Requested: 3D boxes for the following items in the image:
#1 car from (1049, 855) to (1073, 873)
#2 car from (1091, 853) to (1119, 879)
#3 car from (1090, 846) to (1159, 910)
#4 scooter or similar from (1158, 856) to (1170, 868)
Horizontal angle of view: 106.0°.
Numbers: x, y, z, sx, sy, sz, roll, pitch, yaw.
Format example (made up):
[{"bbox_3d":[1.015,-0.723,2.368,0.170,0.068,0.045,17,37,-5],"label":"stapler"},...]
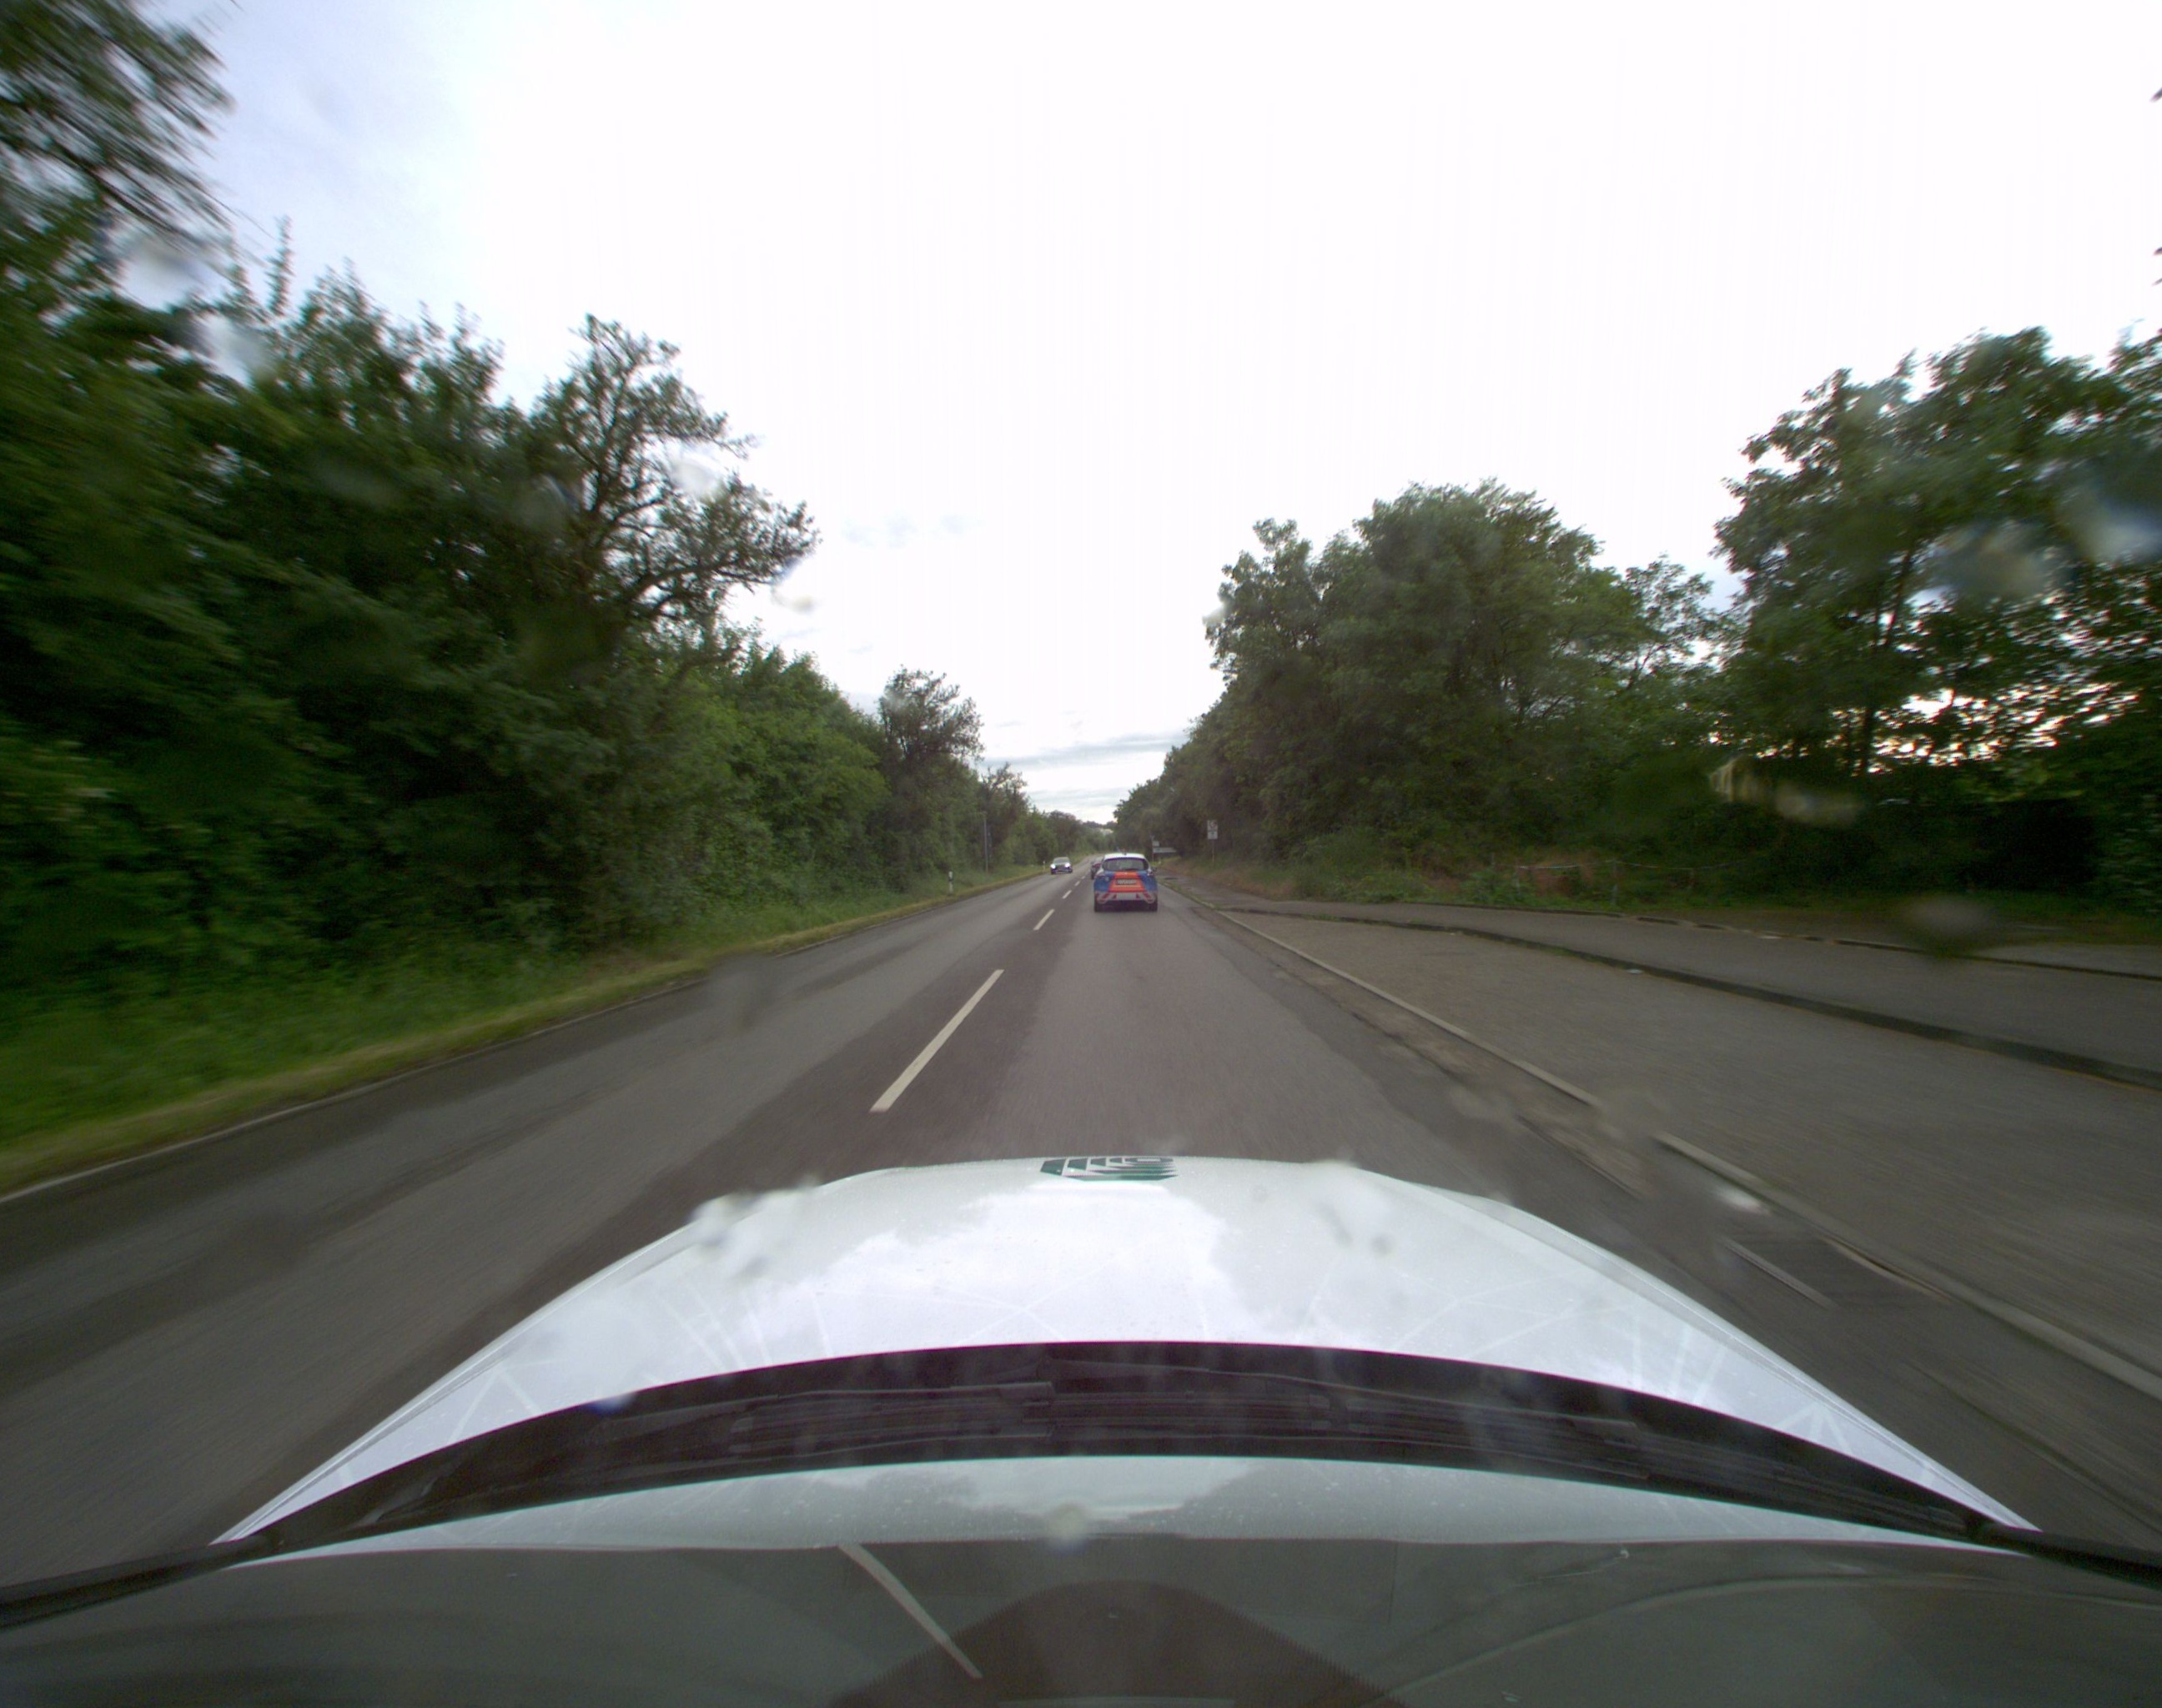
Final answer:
[{"bbox_3d":[-1.804,0.900,74.657,1.864,1.489,4.575,-5,-1,1],"label":"car"},{"bbox_3d":[1.533,0.725,51.681,1.687,1.595,3.857,0,0,1],"label":"car"},{"bbox_3d":[1.182,0.640,23.100,1.799,1.668,3.857,0,0,1],"label":"car"},{"bbox_3d":[9.013,0.850,88.652,1.310,1.206,0.376,-3,-1,42],"label":"scooter or similar"}]
